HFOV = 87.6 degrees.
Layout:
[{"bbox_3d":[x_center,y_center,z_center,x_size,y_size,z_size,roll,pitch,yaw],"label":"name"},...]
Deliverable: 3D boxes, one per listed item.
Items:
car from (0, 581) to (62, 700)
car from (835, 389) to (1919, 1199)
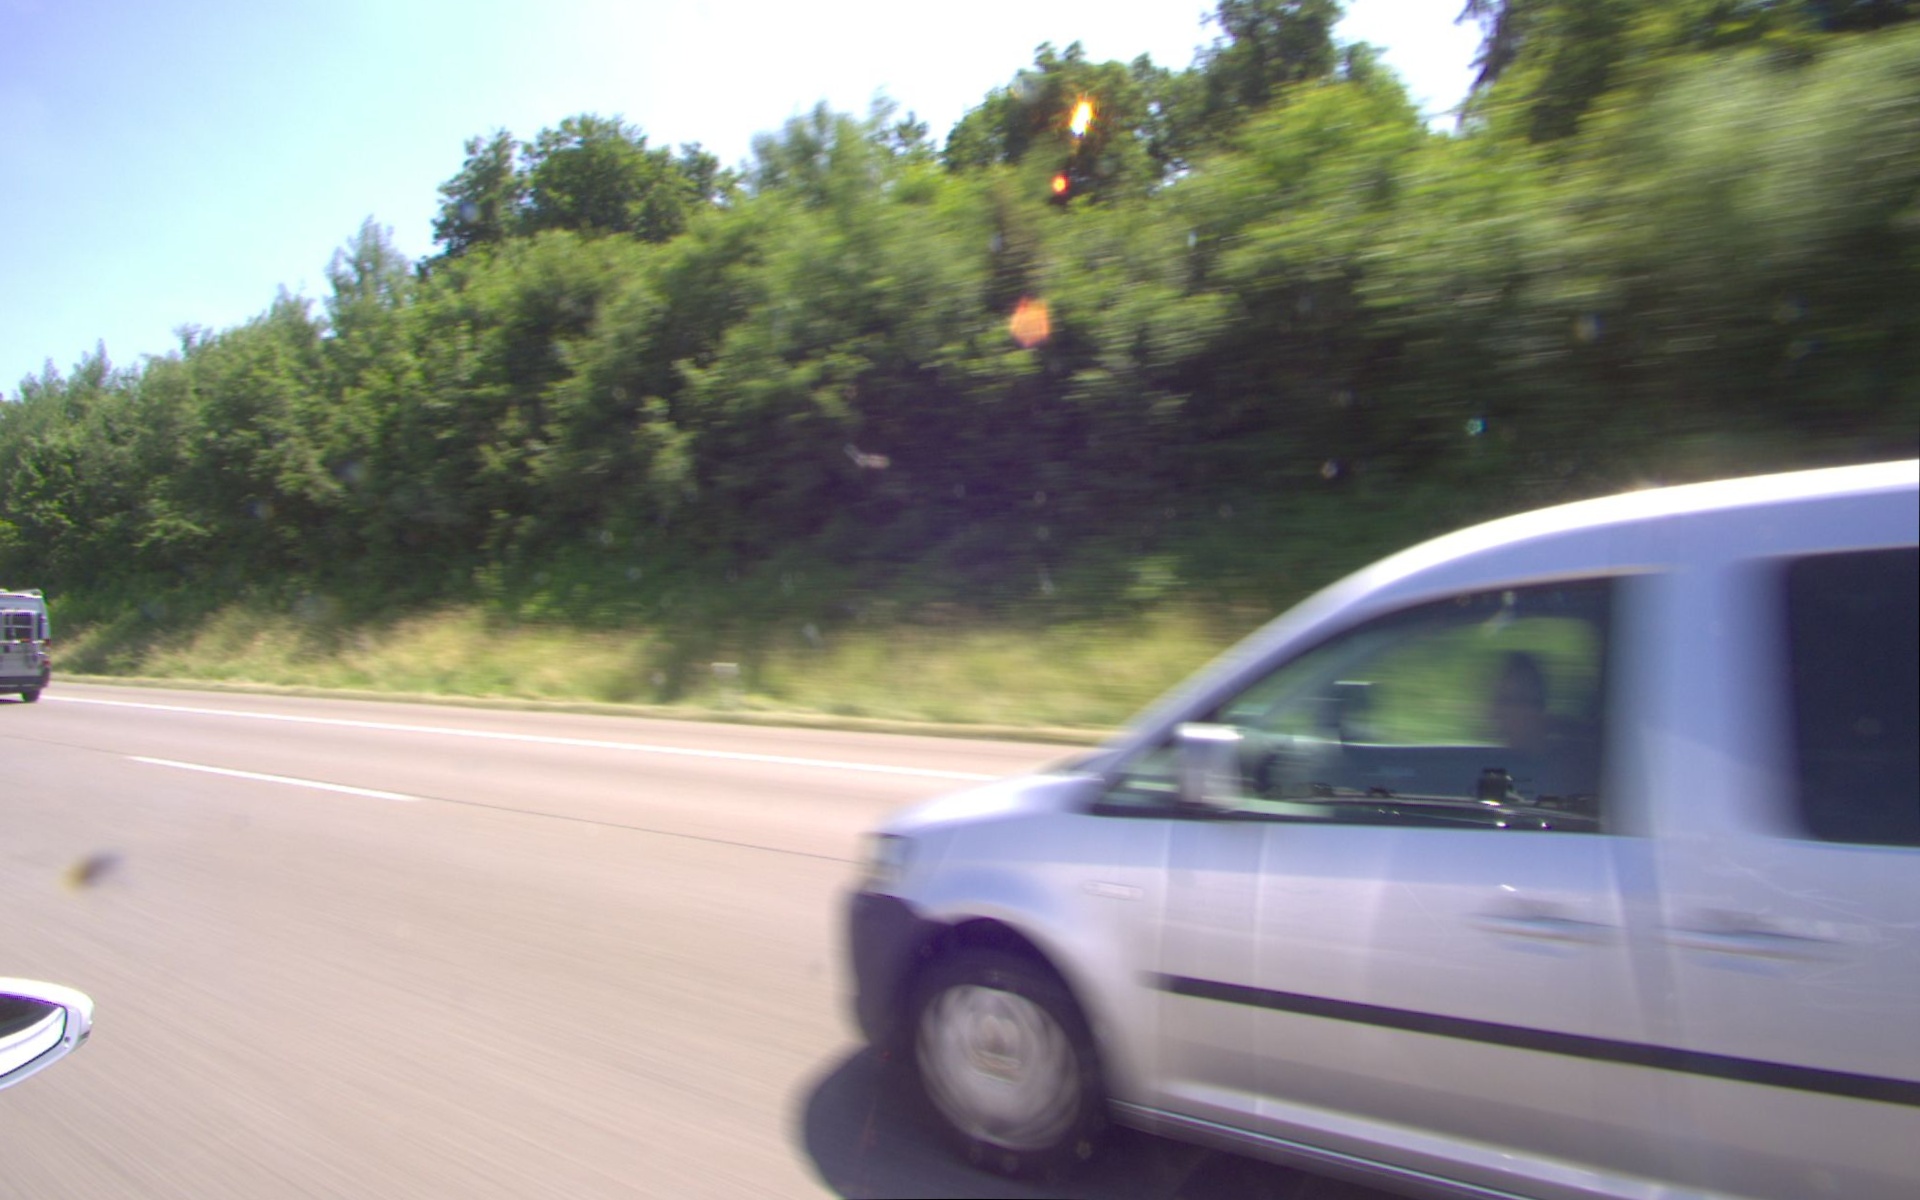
[{"bbox_3d":[-23.903,0.895,23.847,6.527,2.609,2.085,0,-1,33],"label":"car"},{"bbox_3d":[2.098,0.599,2.385,4.732,1.853,1.743,-1,-2,32],"label":"car"}]
